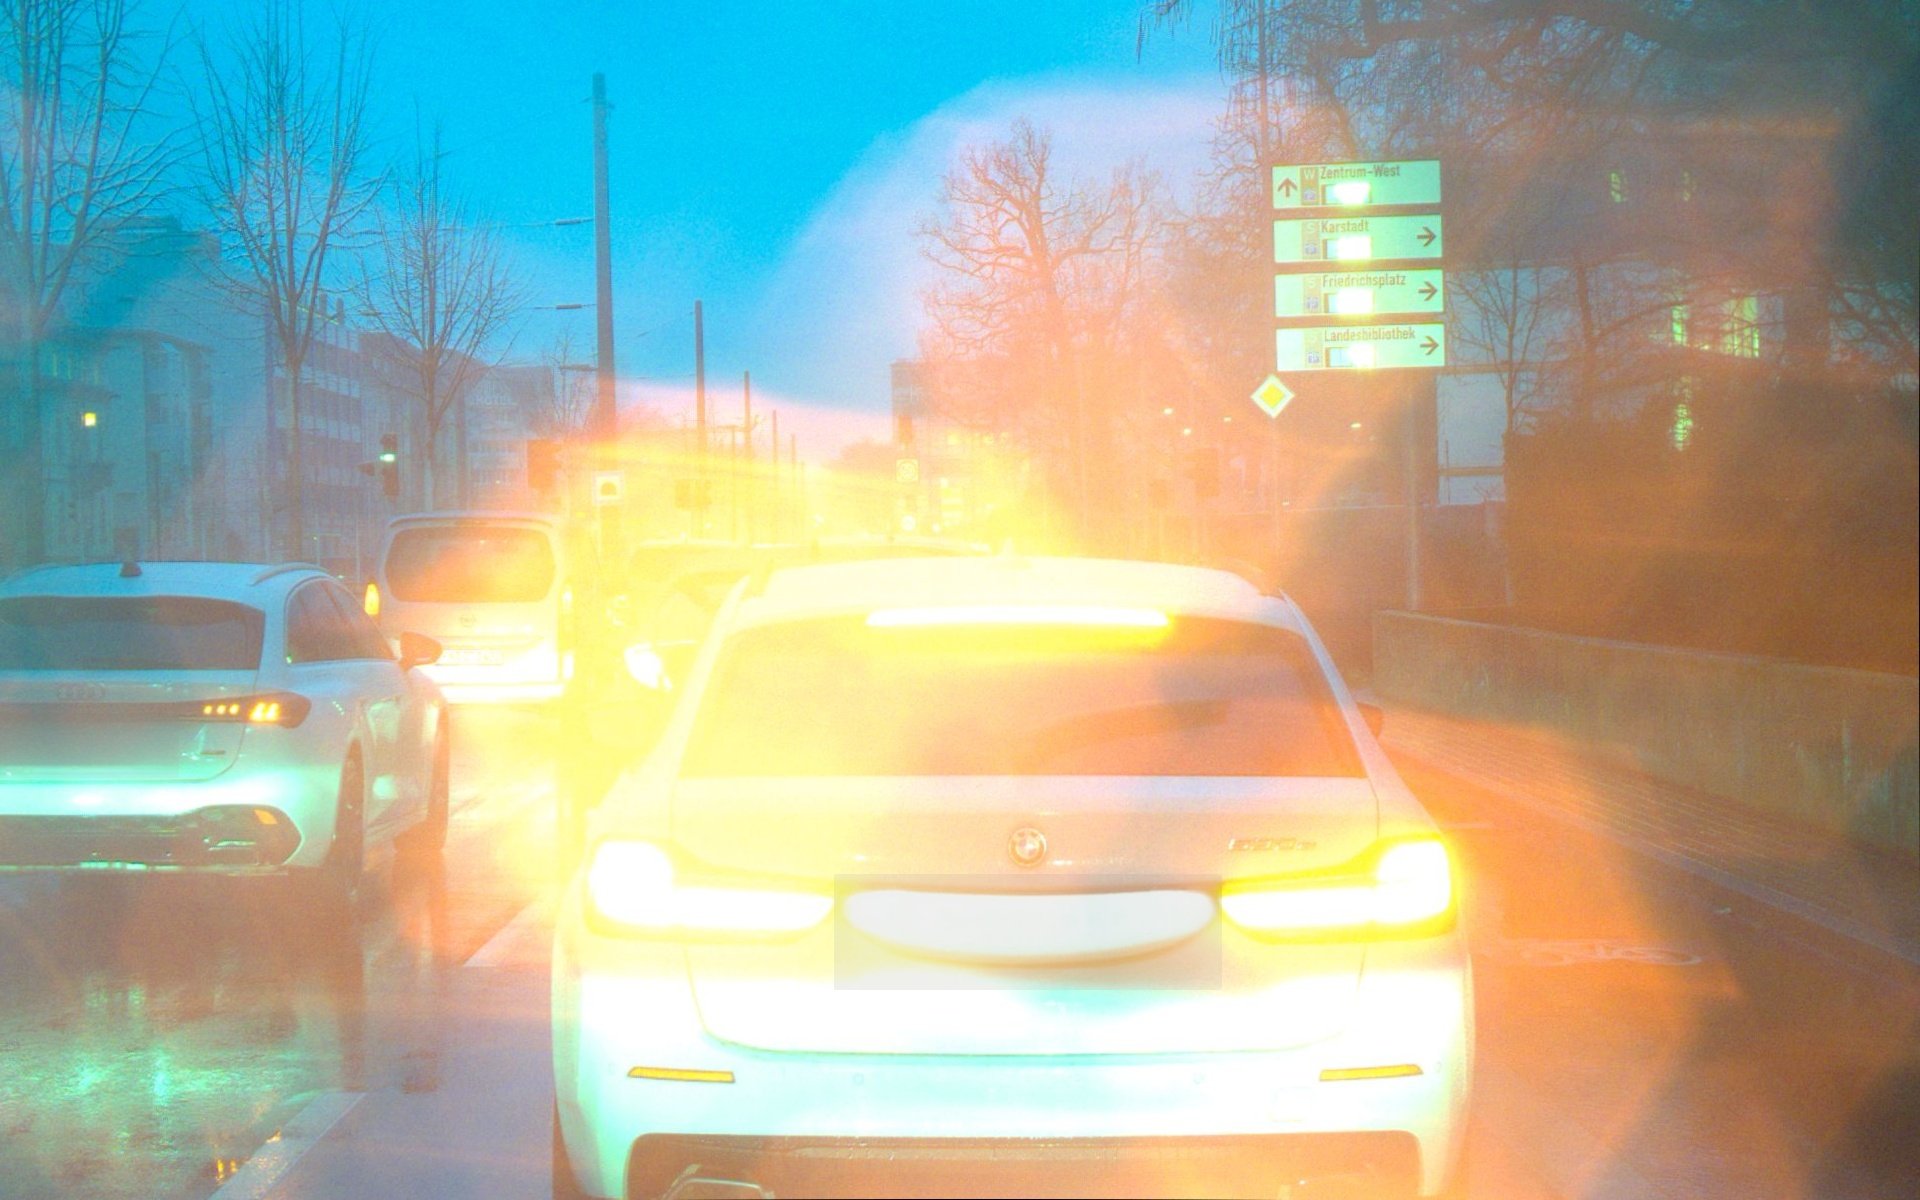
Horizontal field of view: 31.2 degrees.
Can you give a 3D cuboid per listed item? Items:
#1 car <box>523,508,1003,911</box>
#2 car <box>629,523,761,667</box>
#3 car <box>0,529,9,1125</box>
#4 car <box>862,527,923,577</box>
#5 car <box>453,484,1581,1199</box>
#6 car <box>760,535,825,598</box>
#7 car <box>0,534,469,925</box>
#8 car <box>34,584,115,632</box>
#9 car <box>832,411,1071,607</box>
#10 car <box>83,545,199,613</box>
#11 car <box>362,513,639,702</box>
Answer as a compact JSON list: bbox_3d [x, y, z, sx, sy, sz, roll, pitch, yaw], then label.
[{"bbox_3d":[-0.769,0.390,15.023,1.800,1.505,3.895,-1,1,-1],"label":"car"},{"bbox_3d":[-3.174,-0.071,41.407,1.505,1.647,2.845,1,1,-4],"label":"car"},{"bbox_3d":[-3.269,0.618,6.883,1.693,1.528,4.000,0,1,-1],"label":"car"},{"bbox_3d":[-1.977,-1.425,101.962,1.737,1.415,4.146,-1,1,-1],"label":"car"},{"bbox_3d":[0.074,0.553,8.227,1.862,1.550,4.938,-1,1,-1],"label":"car"},{"bbox_3d":[-3.626,-0.719,74.183,1.362,1.312,2.716,1,1,-3],"label":"car"},{"bbox_3d":[-3.412,0.455,15.362,1.799,1.461,4.586,-1,1,-1],"label":"car"},{"bbox_3d":[-25.220,0.217,98.018,1.690,1.273,4.149,-1,1,-7],"label":"car"},{"bbox_3d":[-0.082,-0.711,27.317,1.737,1.415,3.703,-1,1,-1],"label":"car"},{"bbox_3d":[-20.107,-0.526,84.588,1.993,1.597,4.000,1,1,-2],"label":"car"},{"bbox_3d":[-3.739,0.014,28.628,1.737,1.415,4.394,-1,1,-1],"label":"car"}]
